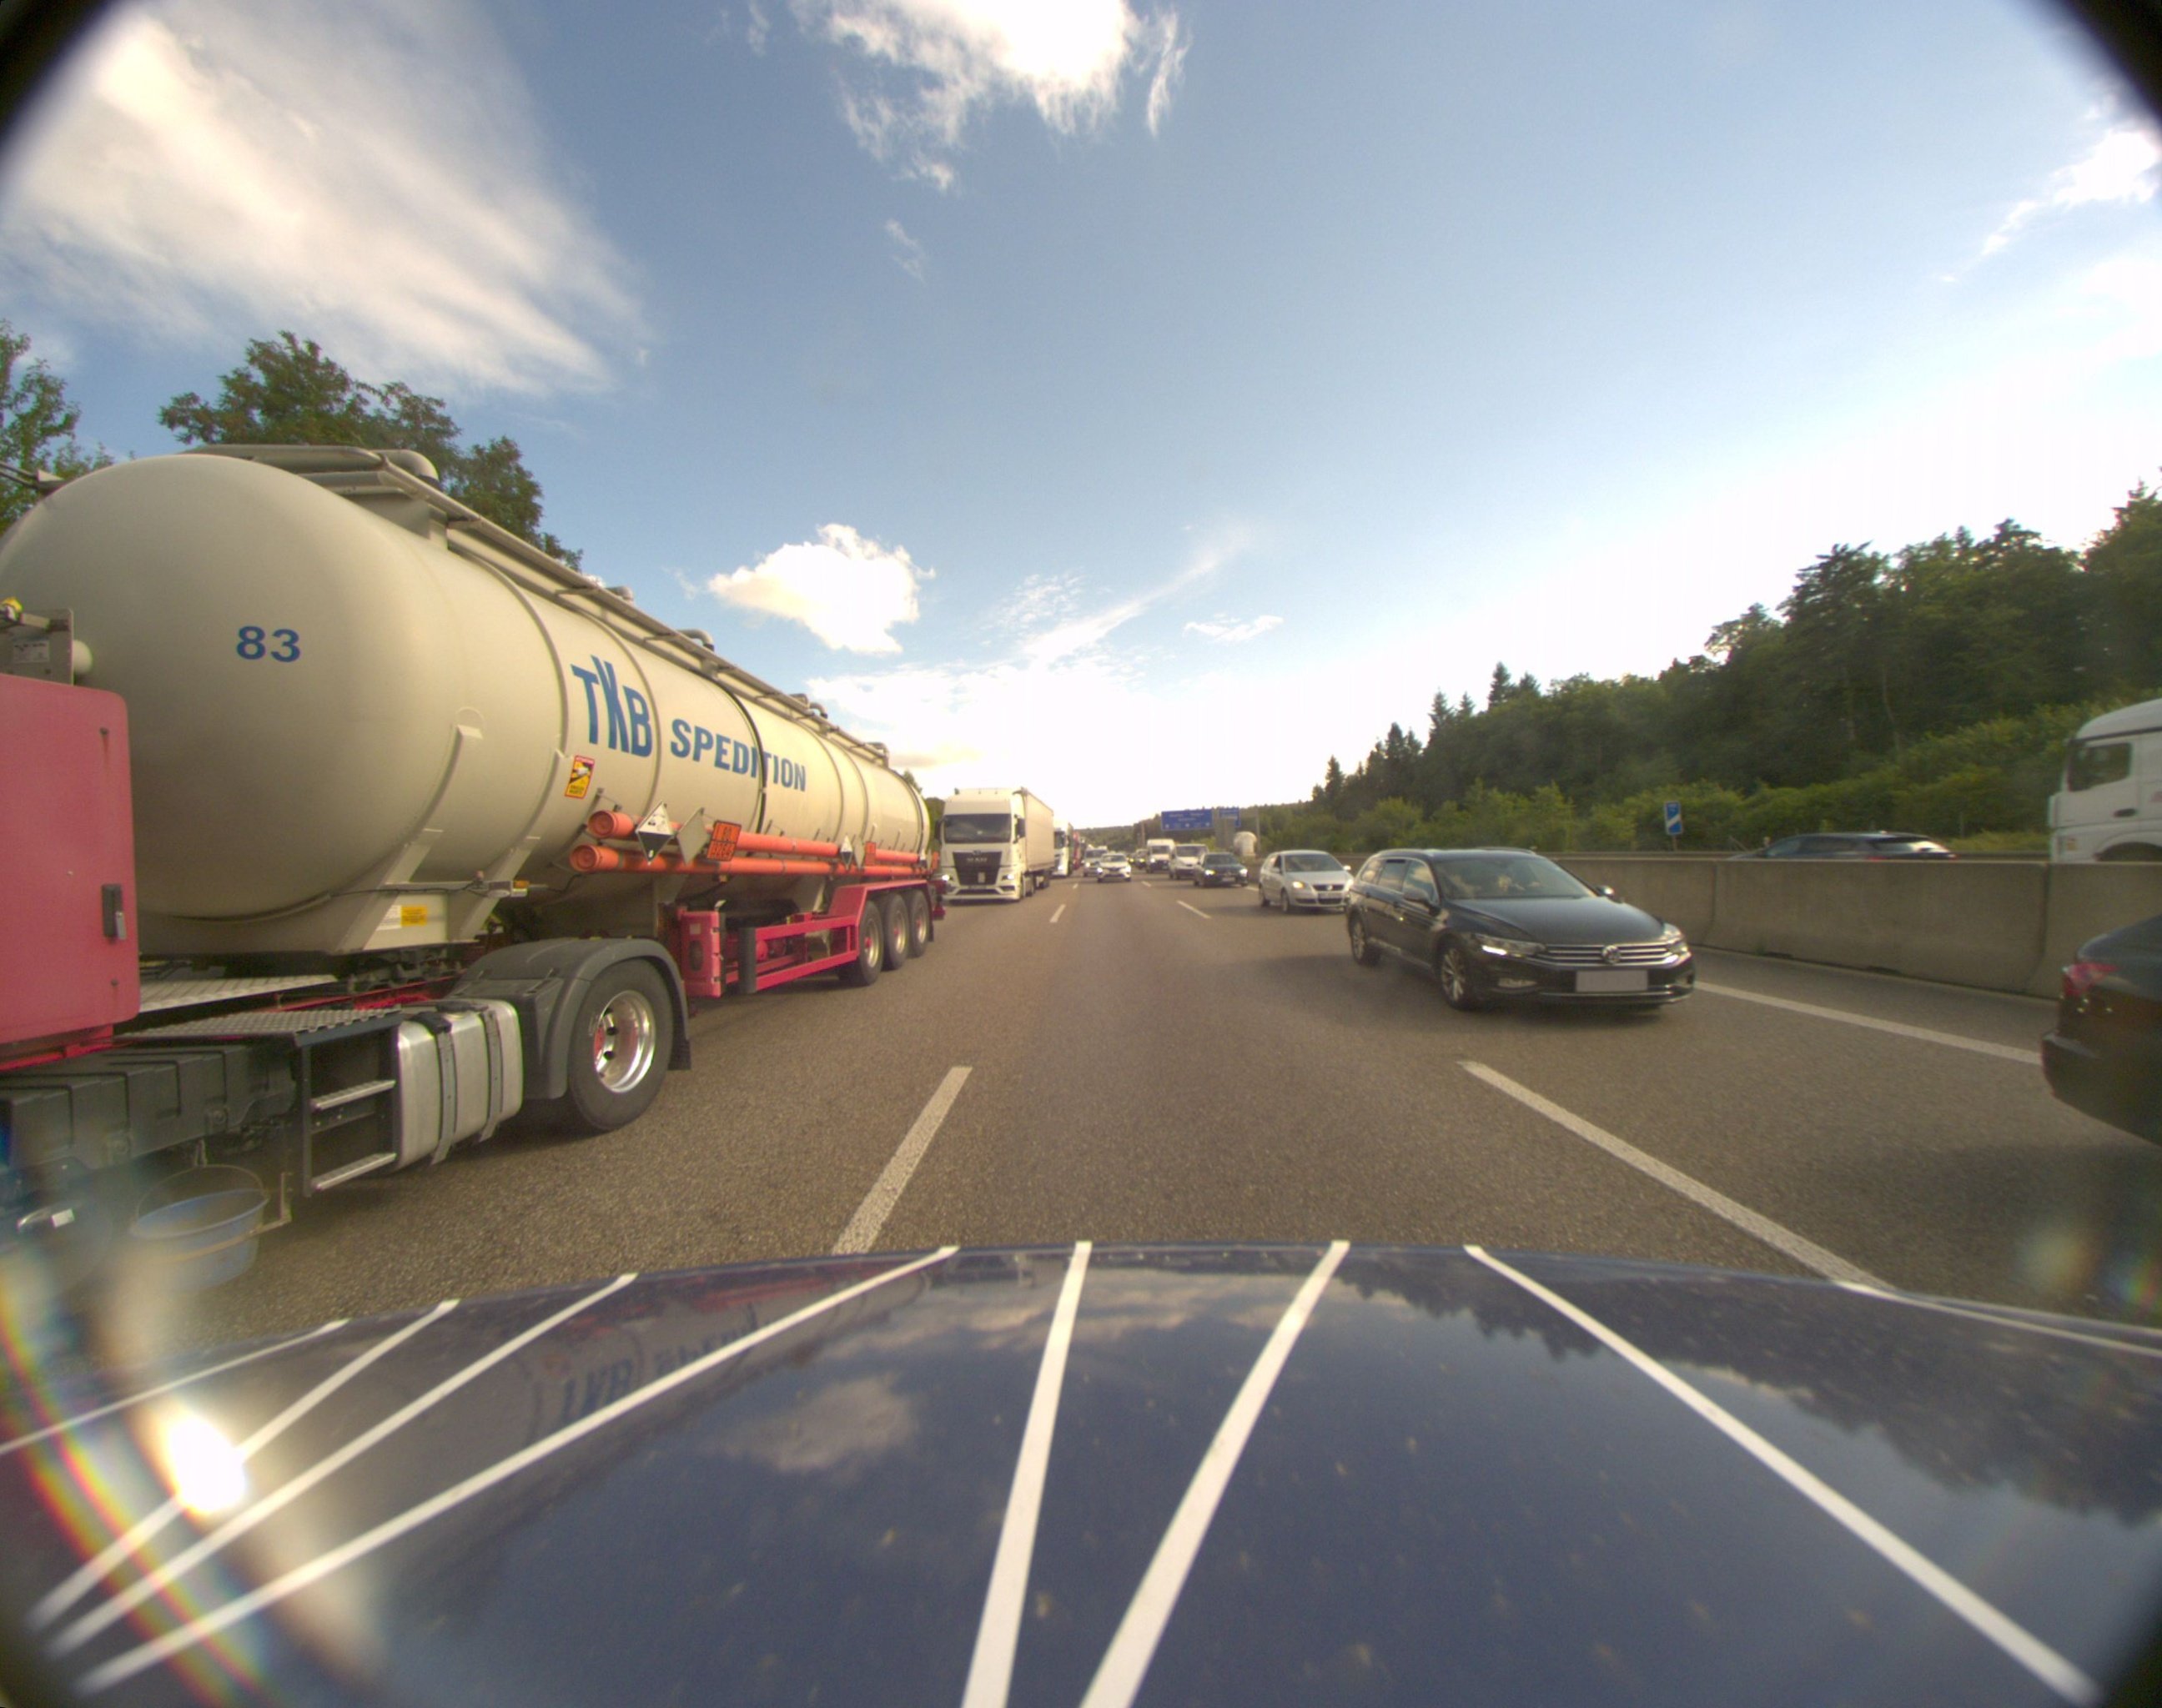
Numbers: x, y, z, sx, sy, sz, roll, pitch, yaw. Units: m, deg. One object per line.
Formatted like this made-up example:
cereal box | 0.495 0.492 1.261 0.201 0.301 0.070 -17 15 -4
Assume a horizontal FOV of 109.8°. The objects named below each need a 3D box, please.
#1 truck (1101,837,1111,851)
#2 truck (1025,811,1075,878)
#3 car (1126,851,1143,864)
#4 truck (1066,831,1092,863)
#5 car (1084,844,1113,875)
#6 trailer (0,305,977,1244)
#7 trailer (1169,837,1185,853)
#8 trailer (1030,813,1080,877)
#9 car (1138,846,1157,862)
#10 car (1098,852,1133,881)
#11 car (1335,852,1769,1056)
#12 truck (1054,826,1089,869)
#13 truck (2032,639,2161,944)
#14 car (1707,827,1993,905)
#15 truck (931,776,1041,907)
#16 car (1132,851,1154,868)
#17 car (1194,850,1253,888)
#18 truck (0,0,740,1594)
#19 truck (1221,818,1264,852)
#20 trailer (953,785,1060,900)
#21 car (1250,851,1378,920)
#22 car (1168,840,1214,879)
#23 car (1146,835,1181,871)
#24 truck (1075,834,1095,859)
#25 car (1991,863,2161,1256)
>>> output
truck | 8.066 -3.276 243.072 2.840 4.178 12.045 -2 1 3
truck | -2.016 -0.597 51.426 2.841 4.178 5.707 -2 1 2
car | 6.714 0.421 96.371 1.920 1.535 3.811 -2 0 1
truck | -0.124 -1.096 108.028 2.840 4.178 12.045 -2 1 3
car | 1.233 0.359 53.060 1.809 2.052 4.770 -2 0 1
trailer | -3.660 -0.344 8.903 2.805 4.003 11.182 -2 1 2
trailer | 26.144 -2.406 207.120 2.841 4.178 13.561 -2 1 1
trailer | -1.784 -0.650 58.437 2.841 4.177 13.613 -2 0 2
car | 7.624 -0.009 87.786 1.920 1.785 3.811 -2 0 1
car | 1.881 0.636 42.333 1.809 1.488 4.666 -1 0 1
car | 4.282 0.751 7.978 1.915 1.469 4.569 -2 0 3
truck | -0.911 -0.754 82.484 2.840 4.178 12.045 -2 1 3
truck | 20.038 -1.090 11.363 3.047 5.223 6.882 -2 1 1
car | 16.557 0.213 16.765 1.959 1.419 4.323 -2 0 1
truck | -3.151 -0.413 26.783 2.840 4.048 5.707 -2 1 2
car | 5.840 0.507 71.403 1.809 1.423 3.660 -2 0 1
car | 5.953 0.590 32.264 1.809 1.423 3.994 -2 0 1
truck | -3.923 -0.274 2.290 2.809 4.020 5.904 -2 1 2
truck | 22.419 -2.561 106.365 2.939 4.329 13.908 -2 1 1
trailer | -2.880 -0.473 34.006 2.832 4.047 13.372 -2 1 2
car | 5.605 0.672 18.916 1.809 1.423 4.666 -2 0 1
car | 6.050 0.275 42.290 1.947 1.953 4.848 -2 0 1
car | 6.147 -0.079 57.103 2.054 2.557 5.861 -1 0 1
truck | 0.851 -1.391 136.342 2.840 4.178 12.045 -2 1 3
car | 4.968 0.781 0.969 1.887 1.463 4.852 -2 0 2
